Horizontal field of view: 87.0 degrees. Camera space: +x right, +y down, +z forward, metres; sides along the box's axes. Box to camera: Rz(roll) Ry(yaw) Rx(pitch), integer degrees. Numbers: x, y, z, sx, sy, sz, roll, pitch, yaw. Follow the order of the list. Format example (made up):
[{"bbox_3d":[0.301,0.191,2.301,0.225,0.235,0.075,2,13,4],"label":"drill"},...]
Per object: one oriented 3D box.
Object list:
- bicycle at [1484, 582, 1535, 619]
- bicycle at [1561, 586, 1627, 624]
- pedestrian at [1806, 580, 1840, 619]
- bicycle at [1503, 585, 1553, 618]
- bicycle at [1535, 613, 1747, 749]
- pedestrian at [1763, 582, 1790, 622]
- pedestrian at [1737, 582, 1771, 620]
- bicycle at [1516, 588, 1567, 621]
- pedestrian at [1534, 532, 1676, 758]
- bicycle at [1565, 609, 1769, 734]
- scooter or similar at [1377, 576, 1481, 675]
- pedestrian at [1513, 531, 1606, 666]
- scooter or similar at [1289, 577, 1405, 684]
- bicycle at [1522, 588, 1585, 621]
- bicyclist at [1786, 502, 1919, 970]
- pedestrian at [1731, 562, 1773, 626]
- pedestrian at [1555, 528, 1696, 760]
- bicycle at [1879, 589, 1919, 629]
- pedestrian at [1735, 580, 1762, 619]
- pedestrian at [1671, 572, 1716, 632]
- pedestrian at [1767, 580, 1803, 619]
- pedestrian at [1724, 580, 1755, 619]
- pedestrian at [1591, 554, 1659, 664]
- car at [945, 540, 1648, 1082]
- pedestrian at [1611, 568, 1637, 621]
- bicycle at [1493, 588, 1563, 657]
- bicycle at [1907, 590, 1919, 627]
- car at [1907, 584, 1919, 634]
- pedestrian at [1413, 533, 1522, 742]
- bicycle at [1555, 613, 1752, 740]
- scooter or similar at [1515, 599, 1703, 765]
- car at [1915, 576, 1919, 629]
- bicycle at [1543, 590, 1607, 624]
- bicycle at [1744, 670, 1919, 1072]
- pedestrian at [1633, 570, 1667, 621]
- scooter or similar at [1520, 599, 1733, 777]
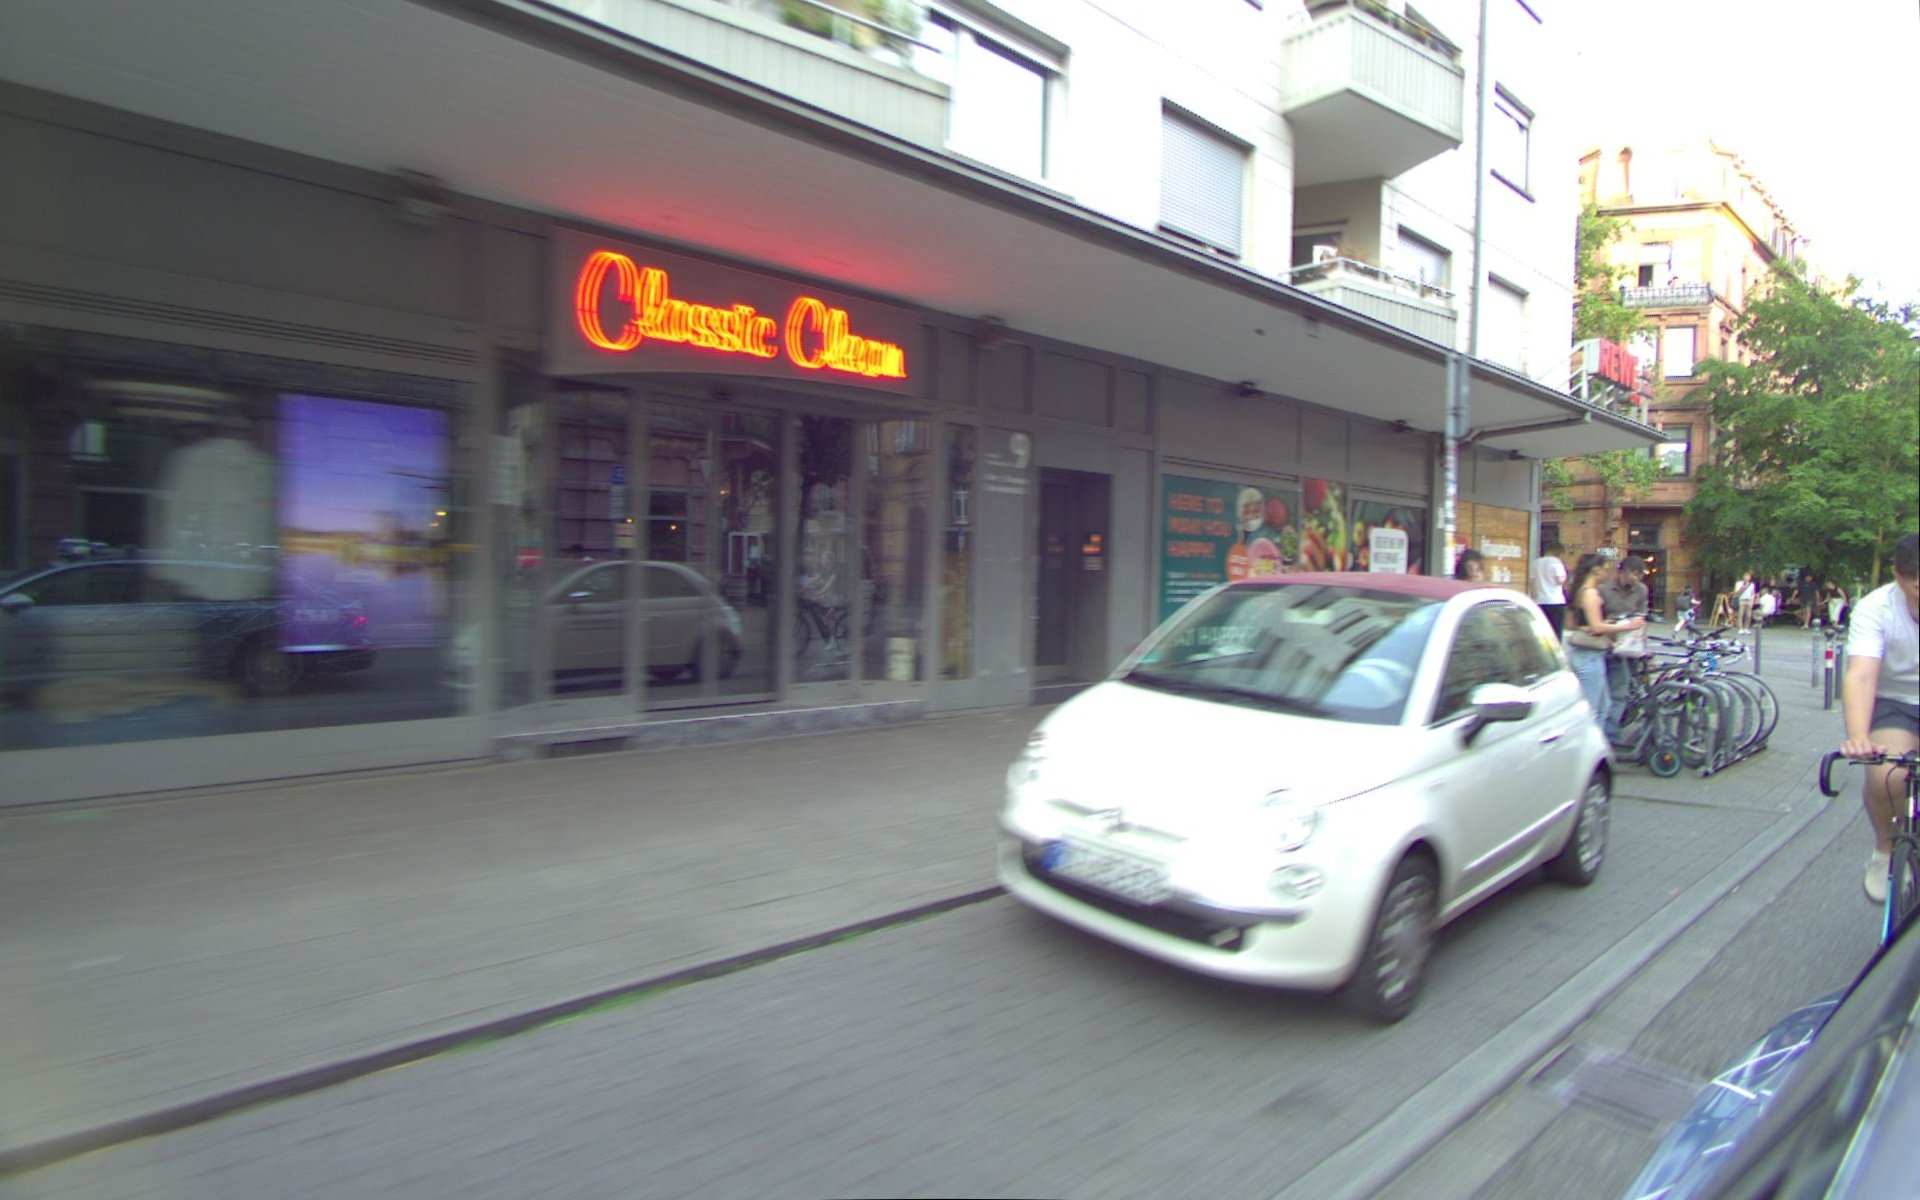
[{"bbox_3d":[19.597,0.012,36.083,1.847,1.254,0.713,-1,2,-30],"label":"bicycle"},{"bbox_3d":[20.521,0.148,32.777,1.845,1.169,0.714,-1,2,-14],"label":"bicycle"},{"bbox_3d":[29.708,-0.024,34.838,0.715,1.321,0.743,2,2,29],"label":"pedestrian"},{"bbox_3d":[20.030,0.049,35.672,1.847,1.091,0.713,-1,2,-30],"label":"bicycle"},{"bbox_3d":[6.163,0.687,9.236,0.501,1.014,1.485,-1,4,-34],"label":"bicycle"},{"bbox_3d":[27.012,0.071,33.481,0.636,1.288,0.667,1,2,35],"label":"pedestrian"},{"bbox_3d":[27.334,0.016,34.855,0.627,1.288,0.676,-1,2,-14],"label":"pedestrian"},{"bbox_3d":[20.159,0.137,35.096,1.847,1.091,0.713,-1,2,-30],"label":"bicycle"},{"bbox_3d":[4.863,0.309,7.670,0.637,1.619,0.591,2,3,9],"label":"pedestrian"},{"bbox_3d":[6.944,0.664,9.999,0.502,1.013,1.550,-2,5,-43],"label":"bicycle"},{"bbox_3d":[6.282,0.305,13.536,1.593,1.233,0.480,-1,3,-34],"label":"scooter or similar"},{"bbox_3d":[9.085,-0.045,15.322,1.169,1.934,0.763,0,4,-40],"label":"pedestrian"},{"bbox_3d":[4.544,0.353,11.913,1.139,1.218,0.538,1,1,-14],"label":"scooter or similar"},{"bbox_3d":[20.018,0.138,34.155,1.845,1.071,0.714,-1,2,-14],"label":"bicycle"},{"bbox_3d":[3.480,0.432,3.594,0.936,1.527,0.650,-2,2,-39],"label":"bicyclist"},{"bbox_3d":[23.928,-0.197,30.580,0.892,1.891,0.676,-1,2,-27],"label":"pedestrian"},{"bbox_3d":[5.410,0.321,8.238,0.724,1.777,0.663,0,3,-36],"label":"pedestrian"},{"bbox_3d":[30.357,0.269,32.356,0.658,1.179,2.101,4,3,21],"label":"bicycle"},{"bbox_3d":[26.716,-0.029,34.301,0.670,1.288,0.633,1,2,34],"label":"pedestrian"},{"bbox_3d":[20.697,0.047,28.556,0.850,1.627,0.540,2,1,-14],"label":"pedestrian"},{"bbox_3d":[28.010,-0.014,34.365,0.662,1.288,0.641,0,2,-2],"label":"pedestrian"},{"bbox_3d":[26.172,-0.030,33.995,0.667,1.288,0.636,0,2,22],"label":"pedestrian"},{"bbox_3d":[10.594,0.124,16.116,0.662,1.671,0.870,6,4,42],"label":"pedestrian"},{"bbox_3d":[1.724,0.555,4.624,3.366,1.519,1.595,-1,4,-43],"label":"car"},{"bbox_3d":[22.547,-0.200,34.364,0.672,1.767,0.631,1,2,40],"label":"pedestrian"},{"bbox_3d":[9.233,0.344,16.418,1.753,1.037,0.457,-2,2,-43],"label":"bicycle"},{"bbox_3d":[31.014,0.310,32.053,0.658,1.179,2.101,4,3,21],"label":"bicycle"},{"bbox_3d":[34.508,0.323,33.637,3.947,1.688,1.818,0,2,19],"label":"car"},{"bbox_3d":[4.254,0.286,8.475,0.560,1.651,0.716,5,3,42],"label":"pedestrian"},{"bbox_3d":[6.499,0.680,9.540,0.502,0.995,1.419,-2,5,-43],"label":"bicycle"},{"bbox_3d":[5.233,0.622,8.194,1.160,1.185,0.529,4,2,43],"label":"scooter or similar"},{"bbox_3d":[40.702,0.171,39.056,5.091,2.123,2.100,1,2,25],"label":"car"},{"bbox_3d":[20.321,0.210,33.463,1.845,1.064,0.714,-1,2,-14],"label":"bicycle"},{"bbox_3d":[3.525,0.860,3.663,1.883,1.031,0.658,-2,2,-39],"label":"bicycle"},{"bbox_3d":[22.860,-0.159,33.539,0.628,1.657,0.676,0,2,-4],"label":"pedestrian"},{"bbox_3d":[4.878,0.627,7.449,1.141,1.185,0.537,3,1,-1],"label":"scooter or similar"}]
